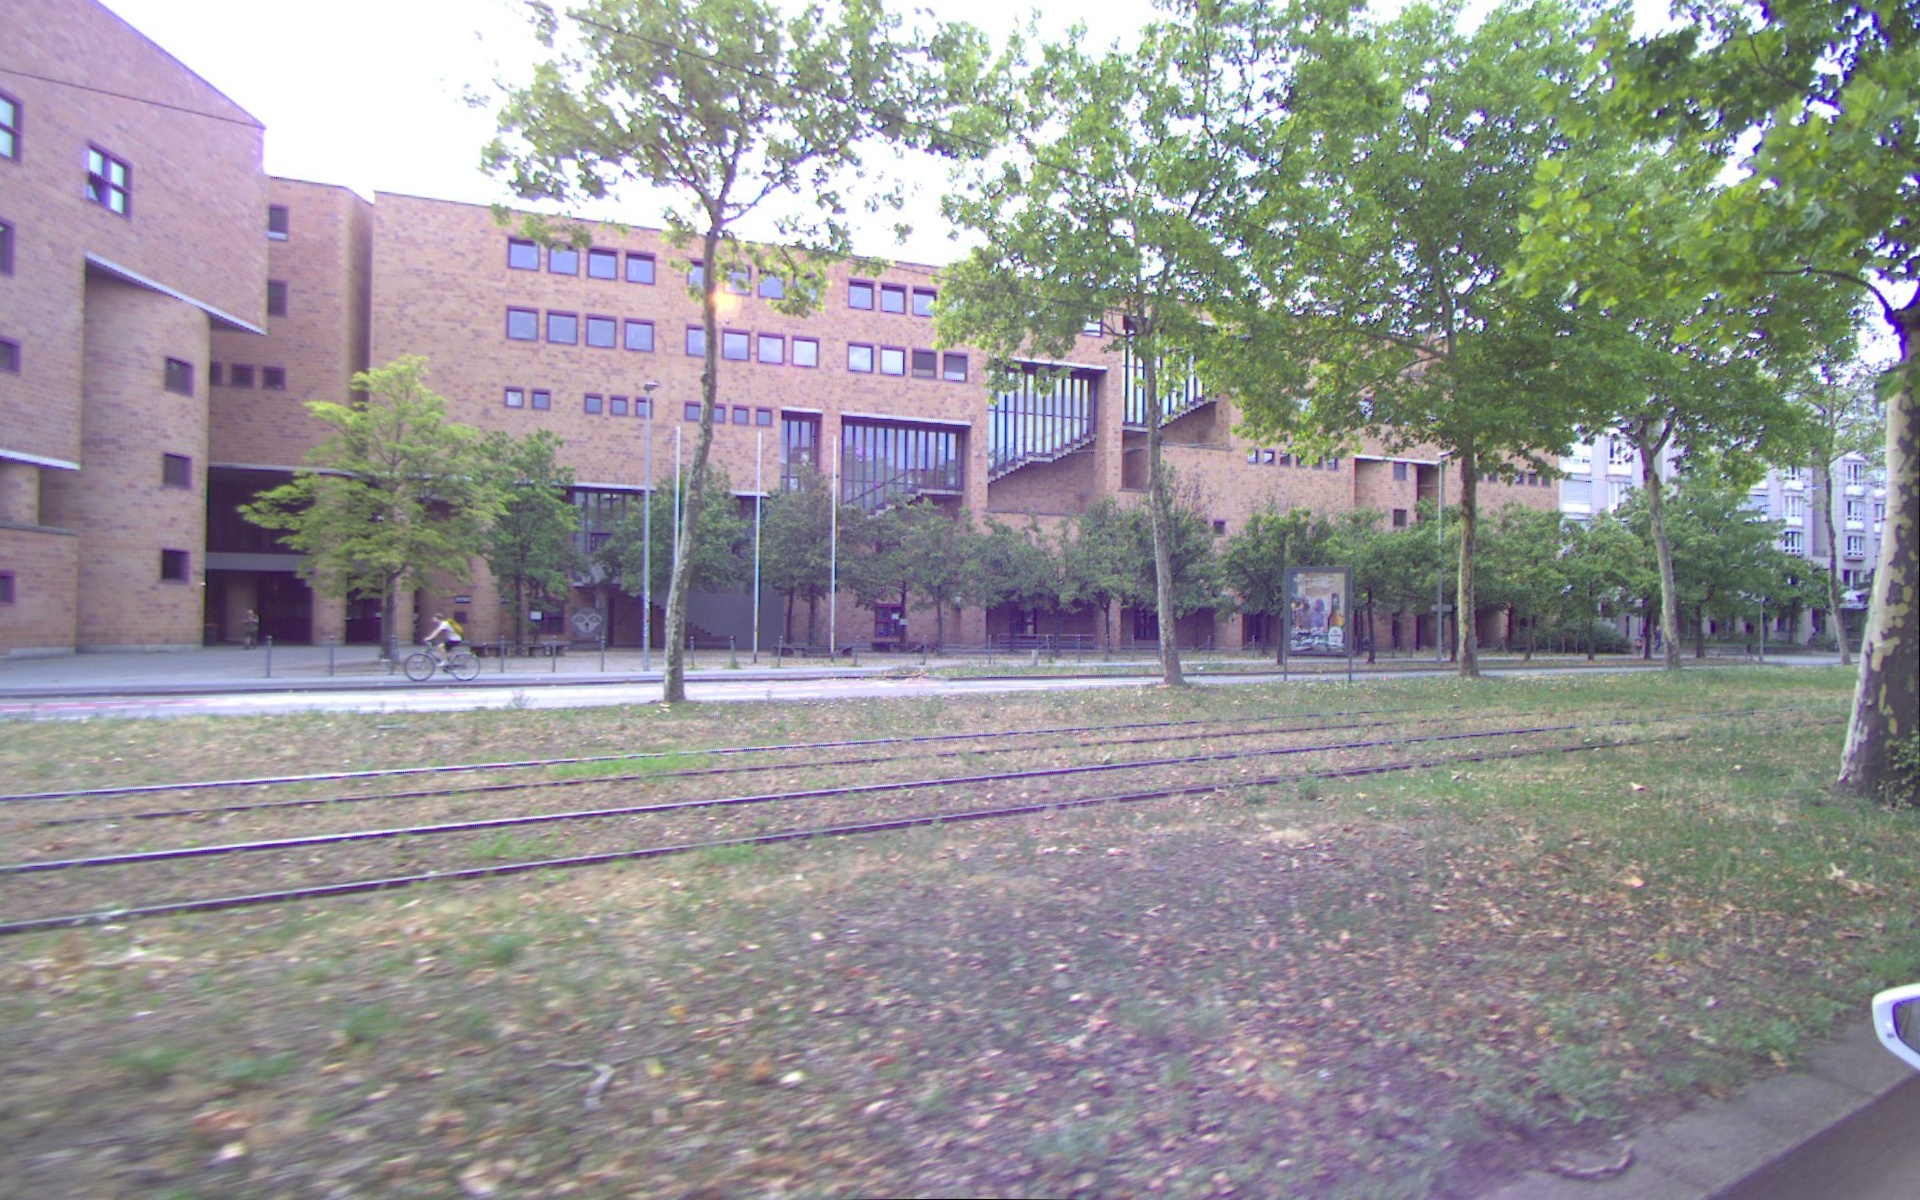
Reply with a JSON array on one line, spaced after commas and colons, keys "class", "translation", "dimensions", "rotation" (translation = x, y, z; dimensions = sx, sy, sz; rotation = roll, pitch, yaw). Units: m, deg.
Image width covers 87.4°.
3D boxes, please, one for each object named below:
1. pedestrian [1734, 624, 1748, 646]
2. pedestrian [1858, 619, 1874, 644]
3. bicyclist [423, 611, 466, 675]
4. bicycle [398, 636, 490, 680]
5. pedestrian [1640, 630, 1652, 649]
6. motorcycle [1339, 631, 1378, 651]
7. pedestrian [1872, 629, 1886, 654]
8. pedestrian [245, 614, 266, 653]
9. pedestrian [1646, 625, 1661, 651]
[{"class": "pedestrian", "translation": [61.248, 2.771, 78.751], "dimensions": [0.649, 1.694, 0.635], "rotation": [1, -1, -21]}, {"class": "pedestrian", "translation": [64.420, 2.223, 71.425], "dimensions": [0.872, 1.727, 0.551], "rotation": [1, -1, -25]}, {"class": "bicyclist", "translation": [-13.297, 1.102, 25.921], "dimensions": [0.971, 1.612, 0.661], "rotation": [1, -1, -27]}, {"class": "bicycle", "translation": [-13.287, 1.485, 25.927], "dimensions": [2.066, 1.098, 0.665], "rotation": [1, -1, -27]}, {"class": "pedestrian", "translation": [48.739, 2.779, 71.334], "dimensions": [0.545, 1.340, 0.457], "rotation": [1, -1, -19]}, {"class": "motorcycle", "translation": [25.534, 2.636, 64.399], "dimensions": [2.162, 1.207, 0.794], "rotation": [0, -2, 38]}, {"class": "pedestrian", "translation": [64.858, 2.935, 70.886], "dimensions": [0.618, 1.727, 0.551], "rotation": [1, -1, -25]}, {"class": "pedestrian", "translation": [-27.694, 1.314, 39.469], "dimensions": [0.511, 1.552, 0.507], "rotation": [1, -1, -15]}, {"class": "pedestrian", "translation": [45.346, 2.474, 65.681], "dimensions": [0.618, 1.727, 0.551], "rotation": [1, -1, -25]}]
